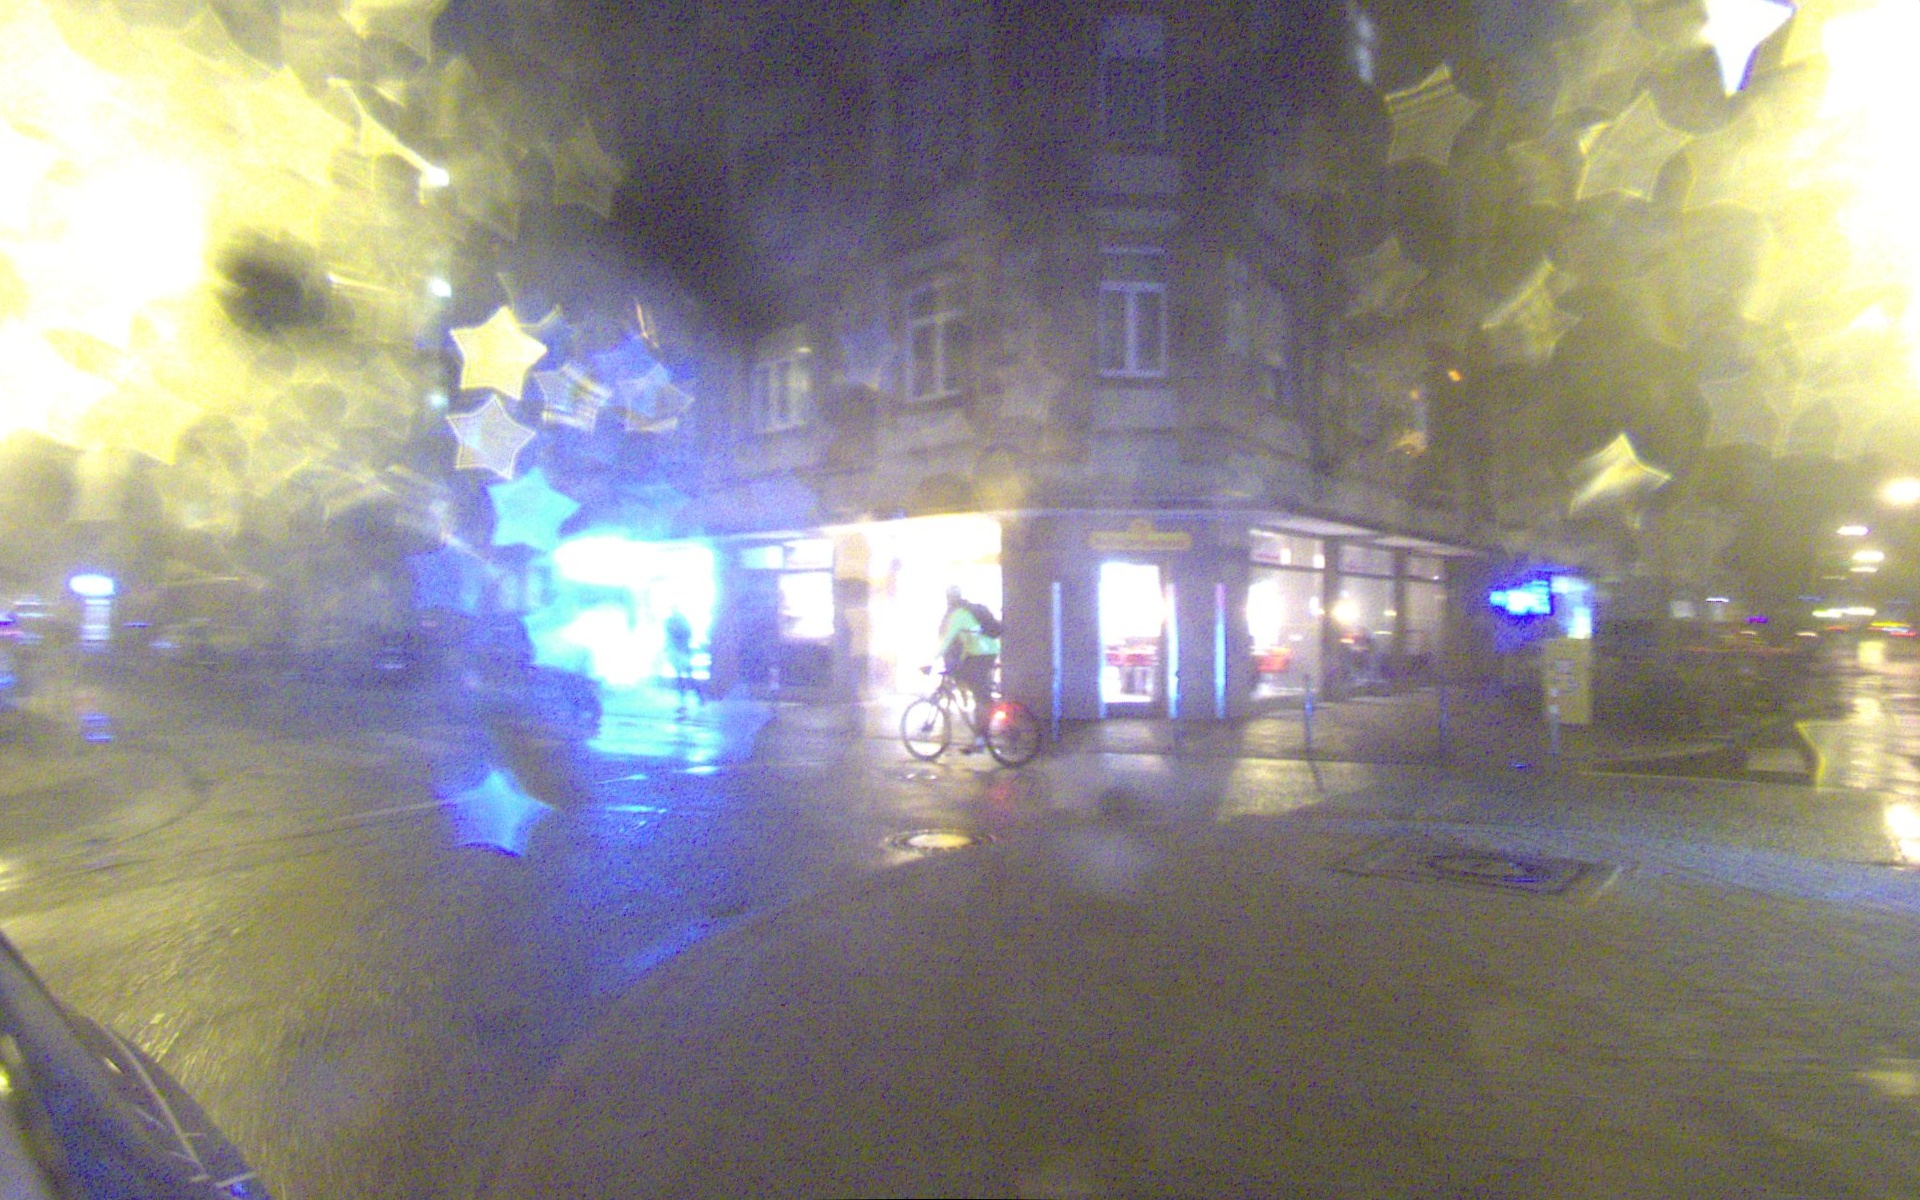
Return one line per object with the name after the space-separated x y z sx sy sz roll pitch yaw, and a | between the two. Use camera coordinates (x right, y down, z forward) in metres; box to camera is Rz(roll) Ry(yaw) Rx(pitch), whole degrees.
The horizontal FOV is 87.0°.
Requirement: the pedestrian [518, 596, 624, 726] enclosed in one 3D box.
-5.937 0.900 15.432 1.414 1.877 0.946 -1 -2 40 | pedestrian

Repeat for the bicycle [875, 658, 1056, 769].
0.060 1.171 10.748 1.789 1.067 0.709 -1 -2 22 | bicycle

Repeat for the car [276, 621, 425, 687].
-15.539 1.294 25.691 5.029 1.489 1.827 -1 -1 41 | car

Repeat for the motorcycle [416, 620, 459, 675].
-14.643 1.322 28.362 1.457 1.482 0.531 -1 0 41 | motorcycle

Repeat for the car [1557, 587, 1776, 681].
16.752 0.739 24.110 4.002 2.029 1.971 0 1 45 | car

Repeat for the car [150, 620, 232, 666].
-27.419 1.489 36.057 3.786 1.489 1.697 -1 0 43 | car

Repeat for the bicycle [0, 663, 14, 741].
-13.674 1.374 13.529 1.621 1.034 0.336 0 -2 -5 | bicycle

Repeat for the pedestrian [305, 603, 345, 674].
-20.526 1.227 32.721 1.115 2.258 0.791 -1 -2 40 | pedestrian

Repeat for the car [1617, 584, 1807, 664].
20.831 0.614 28.130 4.002 2.029 1.971 0 1 45 | car

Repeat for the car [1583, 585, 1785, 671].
18.726 0.662 26.278 4.002 2.029 1.971 0 1 45 | car

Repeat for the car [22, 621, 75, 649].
-52.216 1.990 57.951 3.733 1.489 1.828 -1 0 41 | car

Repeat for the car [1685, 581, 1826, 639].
29.362 0.369 37.542 3.992 2.029 1.976 -1 1 36 | car

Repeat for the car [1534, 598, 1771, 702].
15.158 1.008 22.269 4.002 2.029 1.971 0 1 45 | car

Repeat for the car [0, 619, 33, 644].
-65.644 2.168 69.966 3.733 1.592 1.828 -1 0 41 | car

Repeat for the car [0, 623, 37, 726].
-15.958 1.066 14.156 1.754 1.586 4.246 0 -3 12 | car

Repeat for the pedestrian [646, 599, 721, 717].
-4.496 0.915 16.433 1.078 1.846 0.667 -1 0 43 | pedestrian

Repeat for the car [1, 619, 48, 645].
-60.809 2.045 65.791 3.733 1.592 1.828 -1 0 41 | car

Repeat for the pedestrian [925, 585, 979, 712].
-0.133 0.741 15.794 0.643 1.923 0.630 0 -2 -22 | pedestrian

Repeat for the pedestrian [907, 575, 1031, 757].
0.100 0.681 10.733 1.118 1.825 0.709 -1 -2 22 | pedestrian

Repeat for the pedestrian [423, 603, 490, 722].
-7.847 0.942 15.783 0.815 1.784 0.601 -1 0 -37 | pedestrian

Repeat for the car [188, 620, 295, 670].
-23.185 1.406 32.600 4.154 1.489 1.700 -1 -1 38 | car
